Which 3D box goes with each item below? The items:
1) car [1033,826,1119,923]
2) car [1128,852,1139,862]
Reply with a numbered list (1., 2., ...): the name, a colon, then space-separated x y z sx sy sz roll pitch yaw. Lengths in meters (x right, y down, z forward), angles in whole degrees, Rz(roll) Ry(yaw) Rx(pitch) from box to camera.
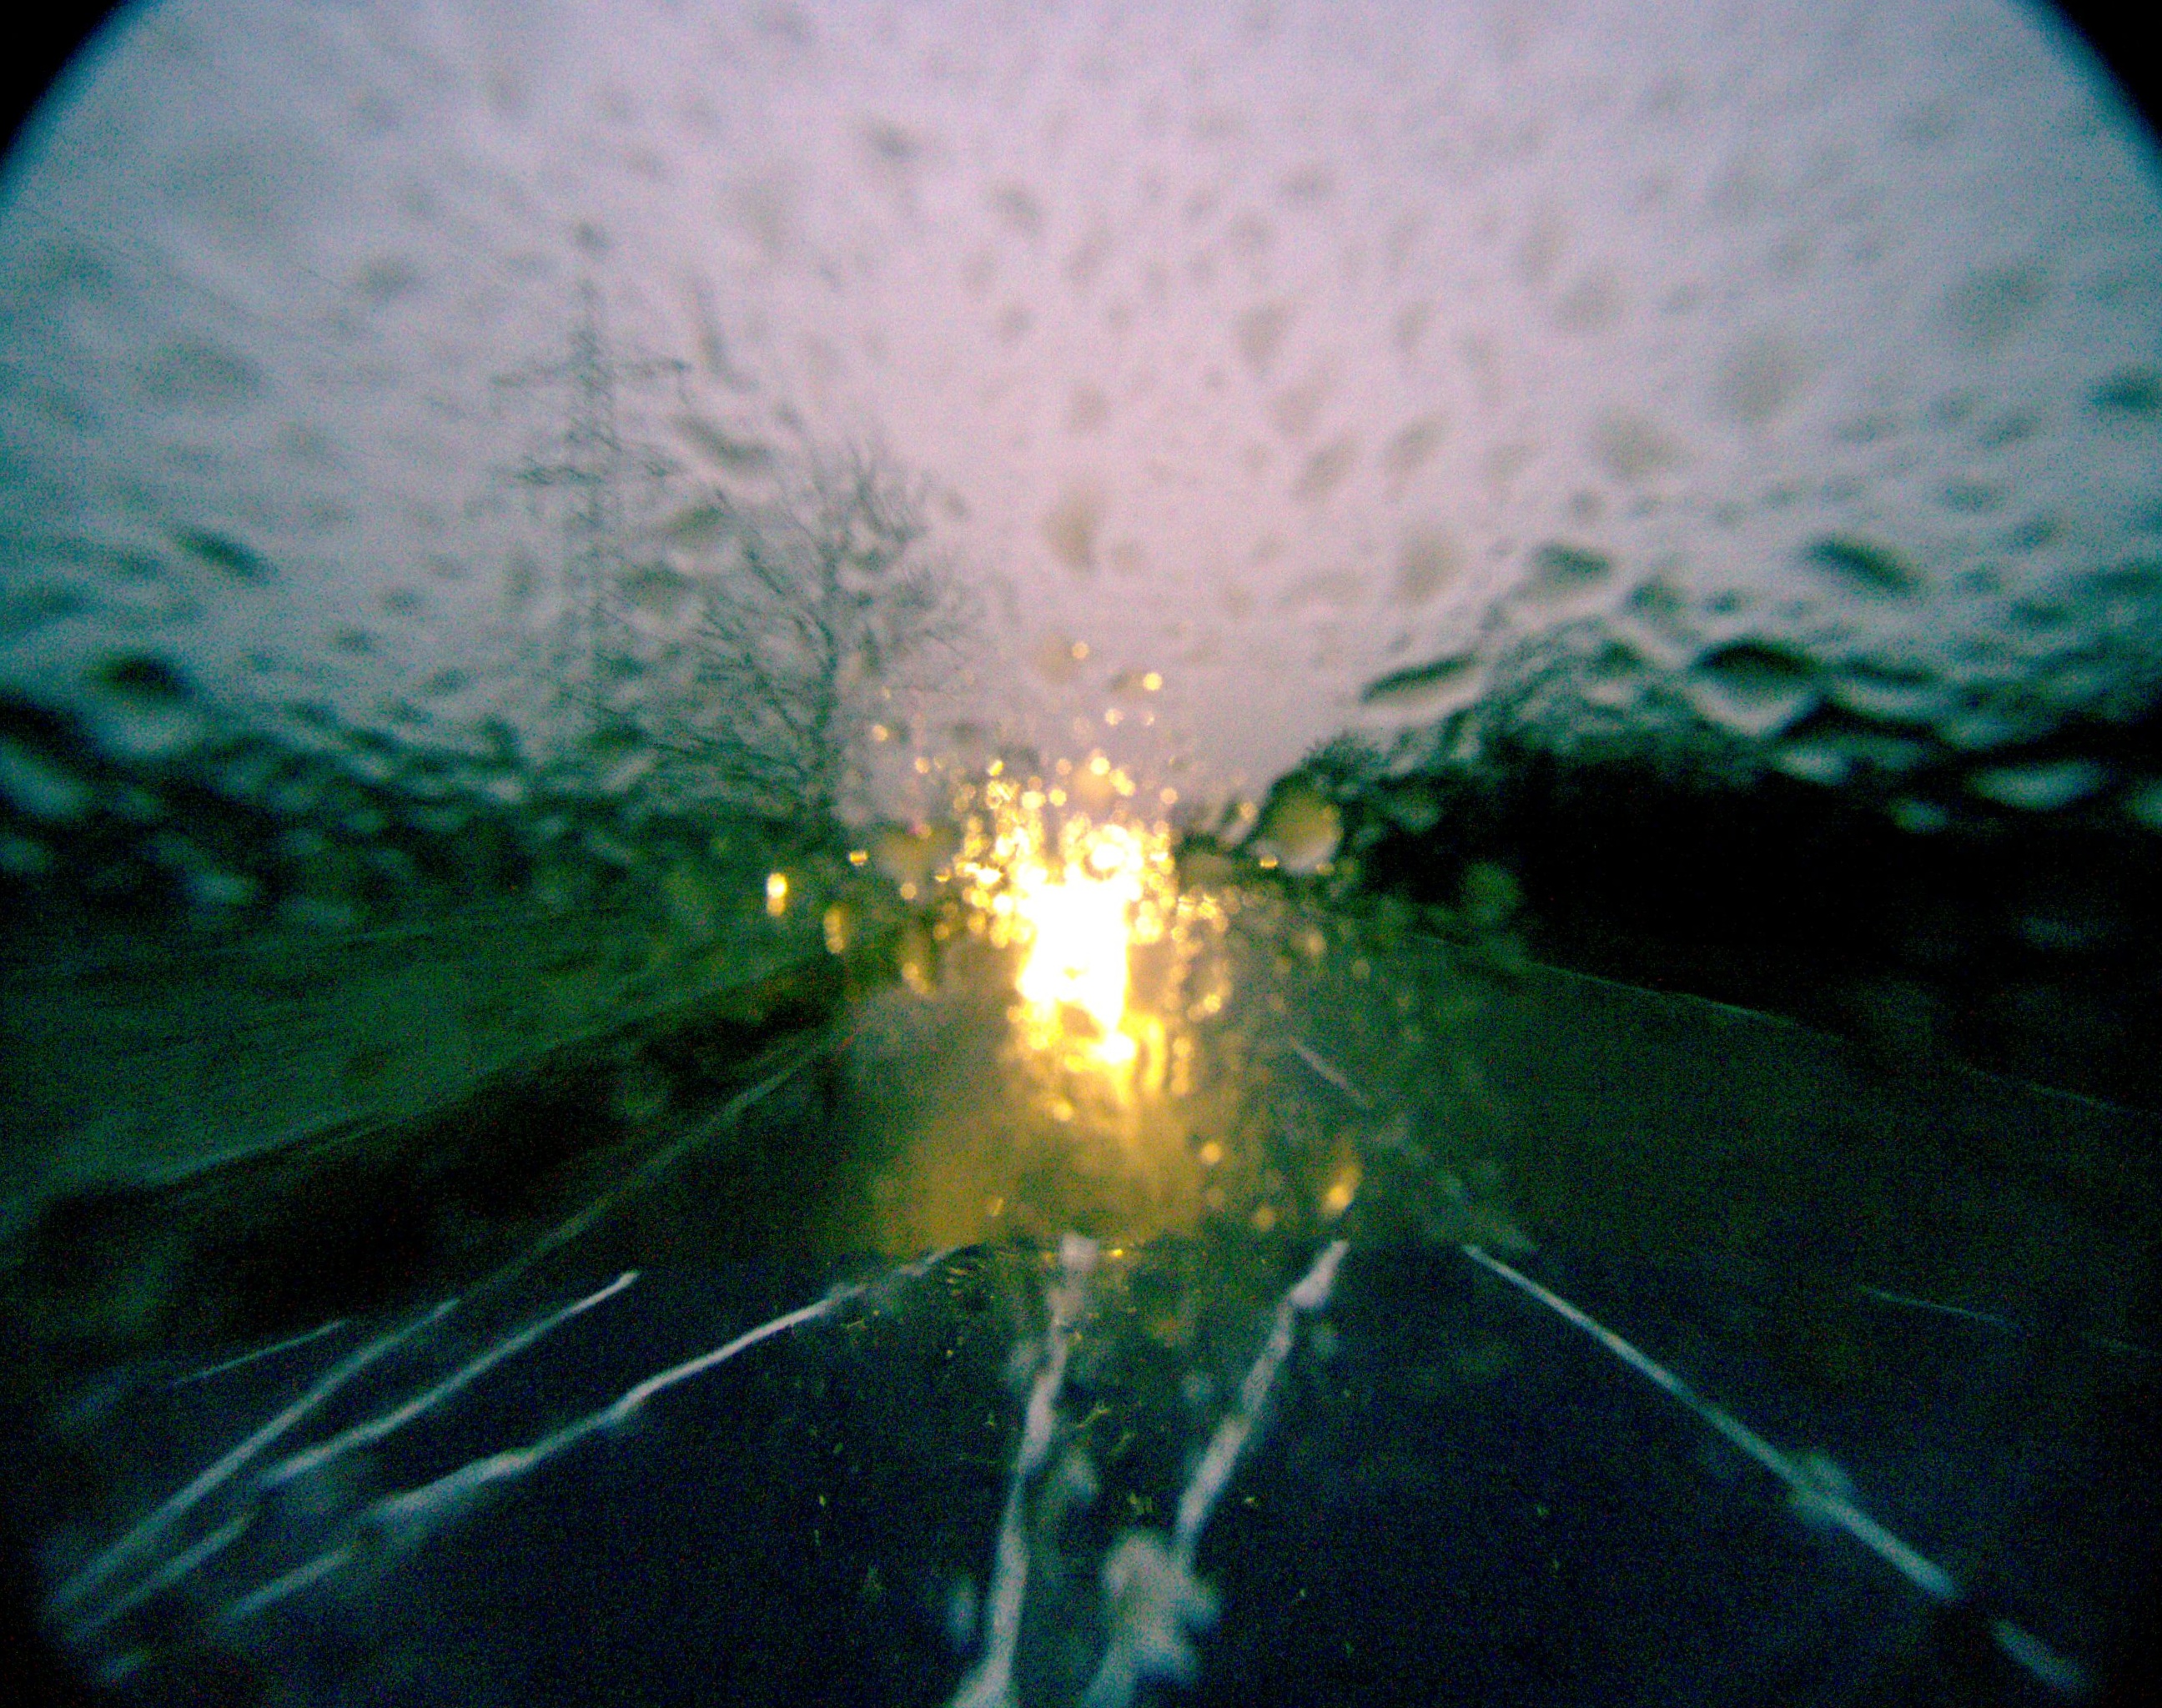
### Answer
1. car: -0.064 0.462 20.181 1.953 2.195 4.534 -2 1 1
2. car: 9.851 0.540 143.314 1.912 1.654 3.928 -2 1 1
